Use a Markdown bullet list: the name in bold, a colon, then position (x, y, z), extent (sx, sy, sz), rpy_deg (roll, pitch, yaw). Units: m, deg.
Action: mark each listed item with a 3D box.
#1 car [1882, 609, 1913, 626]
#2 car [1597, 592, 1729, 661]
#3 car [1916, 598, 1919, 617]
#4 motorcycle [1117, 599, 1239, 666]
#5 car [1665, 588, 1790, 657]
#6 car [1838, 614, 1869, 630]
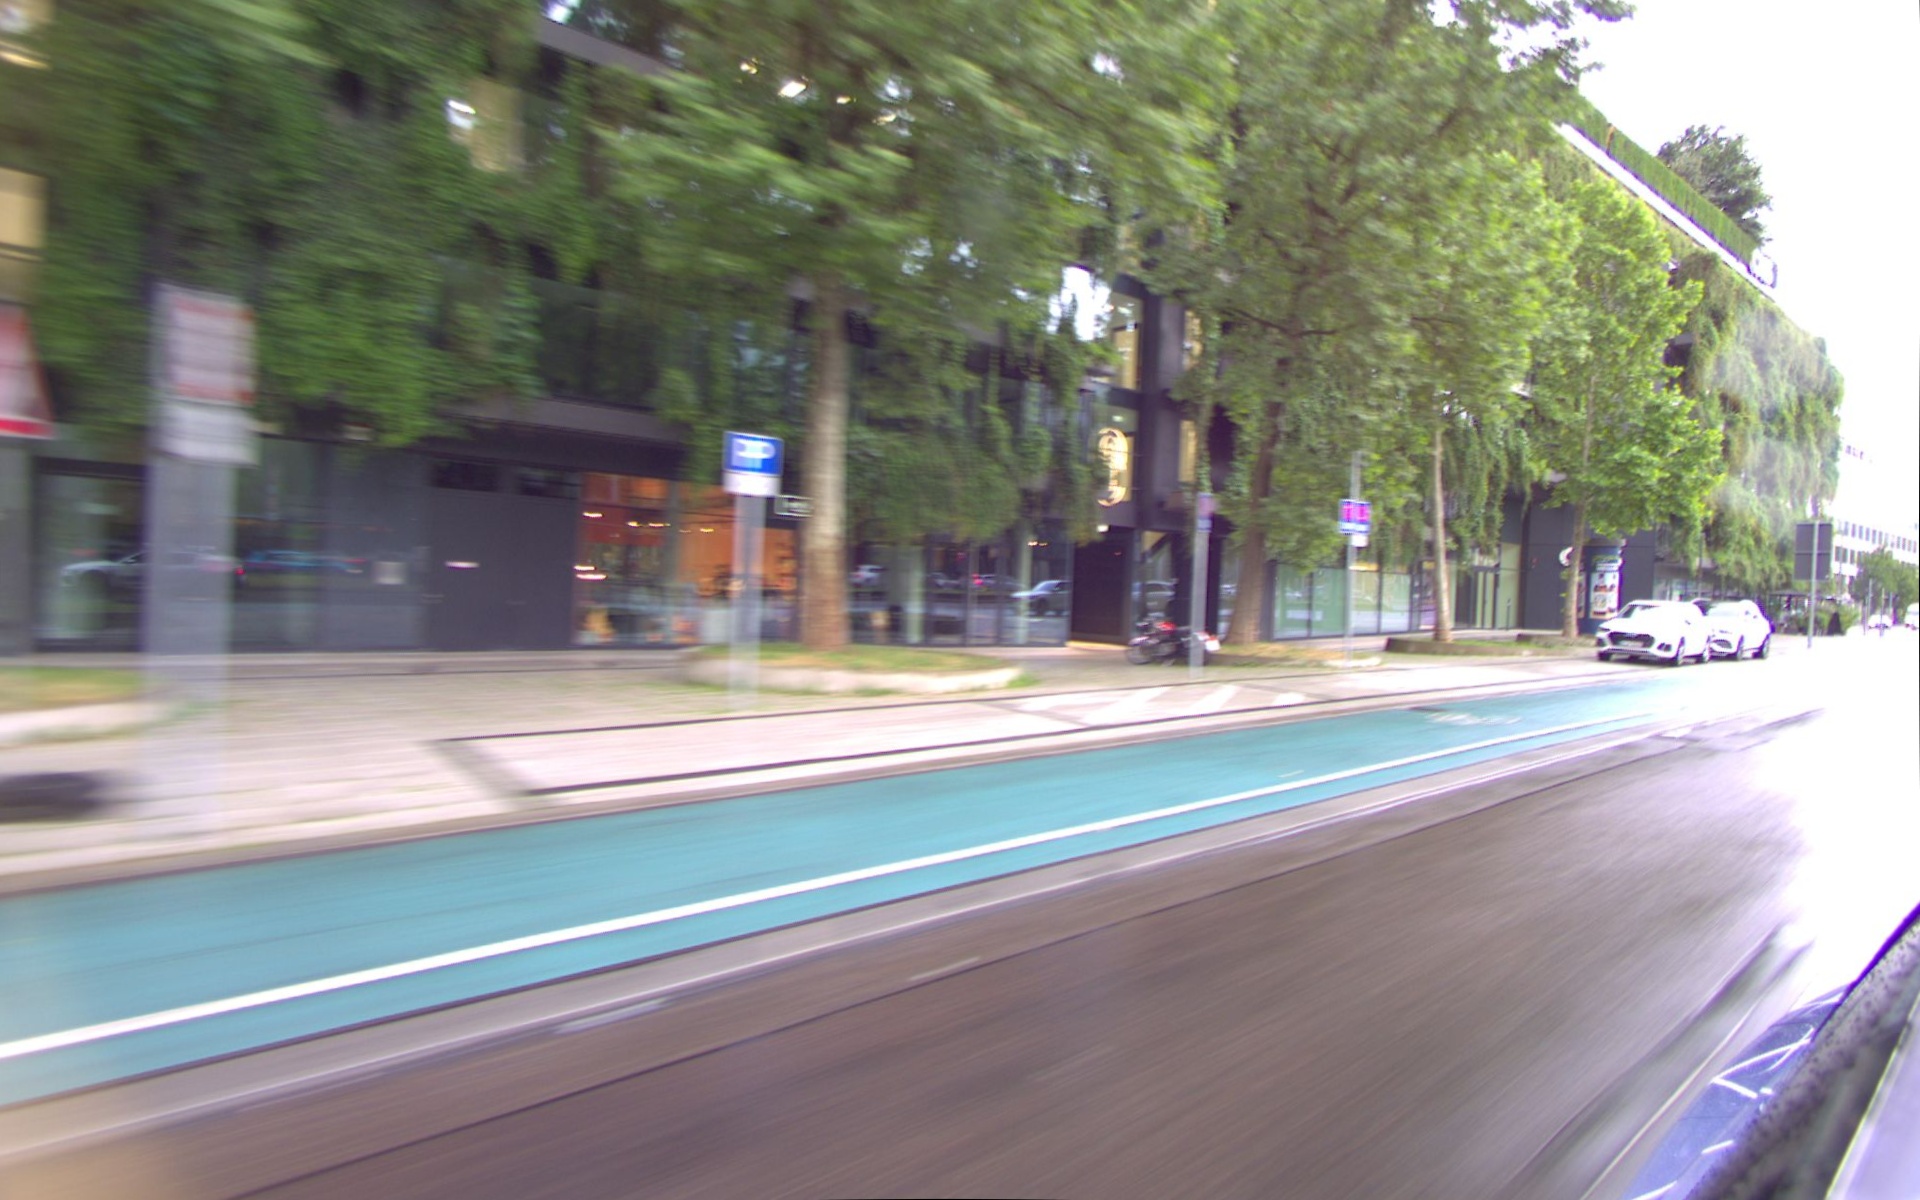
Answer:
- **car**: position (93.086, 1.746, 100.431), extent (4.588, 1.571, 1.738), rpy_deg (1, 1, -41)
- **car**: position (19.068, 0.700, 27.369), extent (4.703, 1.653, 1.847), rpy_deg (1, 1, -41)
- **car**: position (107.426, 0.864, 111.963), extent (3.930, 2.039, 1.997), rpy_deg (2, 0, -41)
- **motorcycle**: position (4.484, 0.638, 20.976), extent (1.034, 1.286, 2.311), rpy_deg (2, -1, -41)
- **car**: position (23.586, 0.679, 31.036), extent (5.001, 1.860, 1.848), rpy_deg (1, 2, -39)
- **car**: position (89.688, 2.184, 101.553), extent (4.588, 1.571, 1.738), rpy_deg (1, 1, -41)
